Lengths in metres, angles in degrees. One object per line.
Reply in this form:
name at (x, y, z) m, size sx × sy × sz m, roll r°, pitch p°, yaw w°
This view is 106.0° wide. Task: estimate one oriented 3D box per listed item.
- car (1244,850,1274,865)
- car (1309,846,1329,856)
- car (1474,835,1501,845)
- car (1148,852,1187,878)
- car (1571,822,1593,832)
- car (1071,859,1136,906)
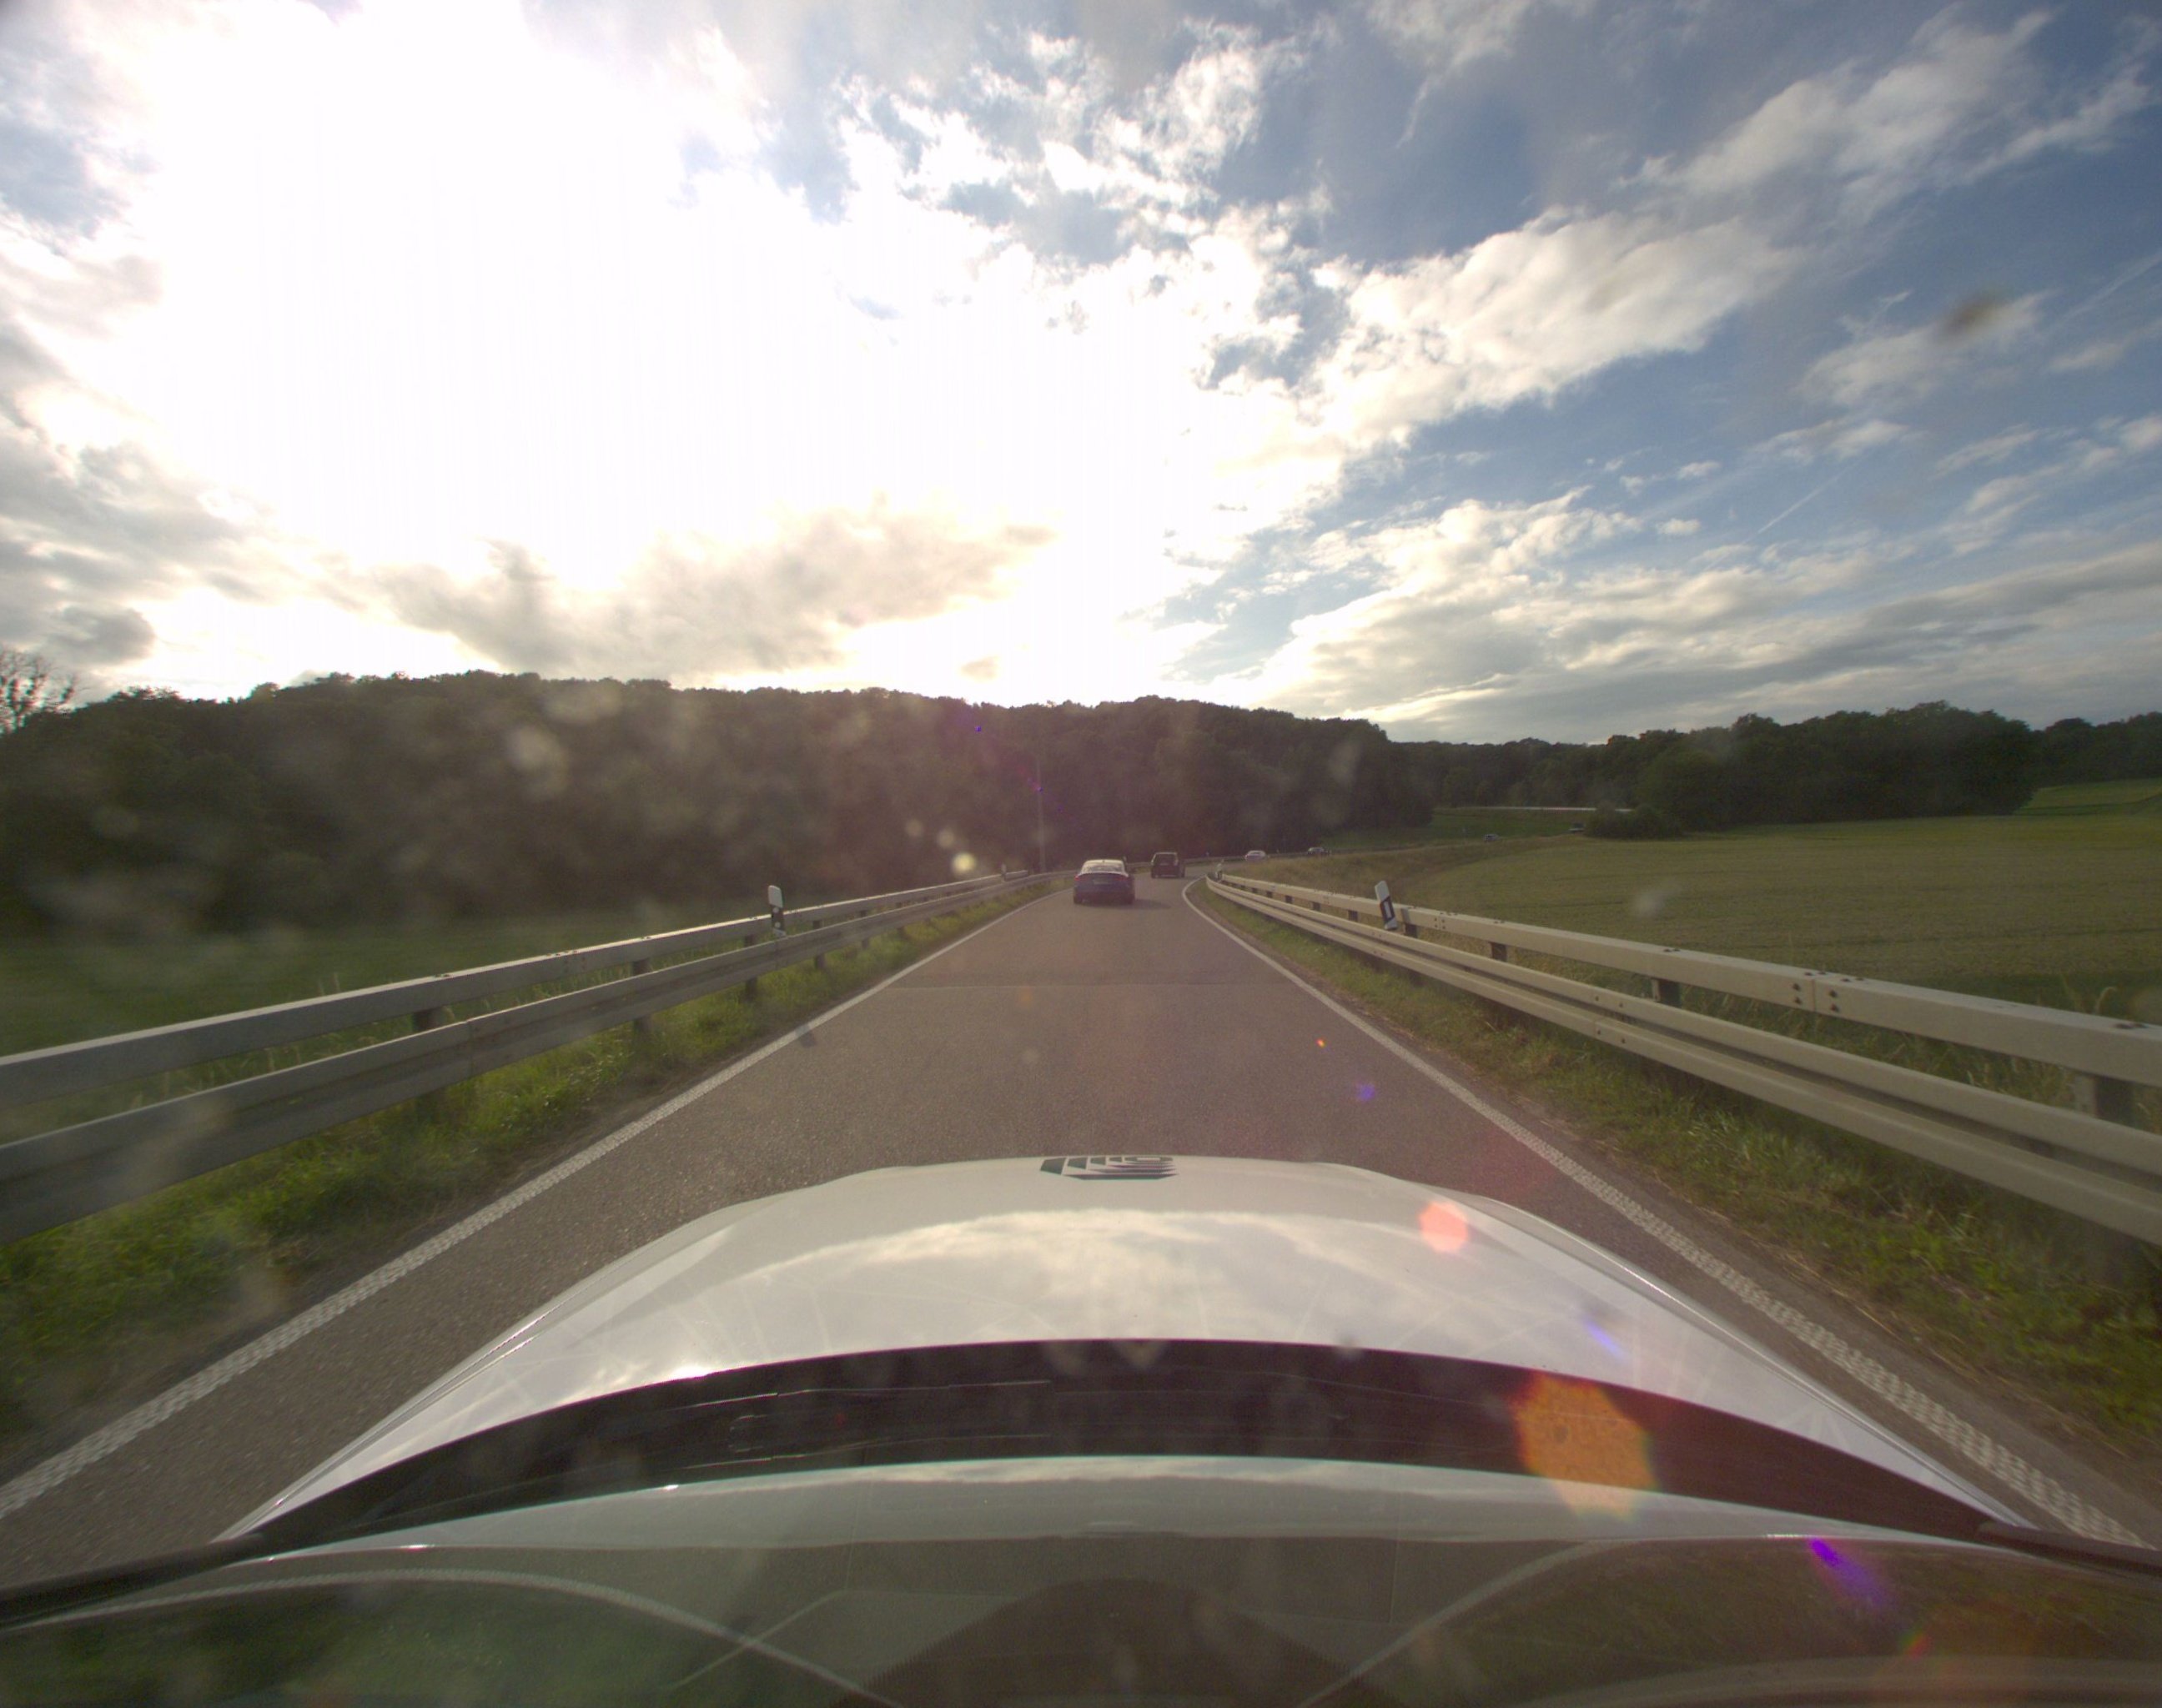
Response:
car at (18.763, 0.365, 85.847) m, size 1.666 × 1.376 × 4.026 m, roll -3°, pitch 0°, yaw 33°
car at (30.699, -0.349, 105.051) m, size 1.457 × 1.227 × 3.320 m, roll -3°, pitch -1°, yaw 35°
car at (73.101, -2.521, 146.351) m, size 4.180 × 1.679 × 1.986 m, roll -2°, pitch 1°, yaw -21°
car at (5.577, 0.662, 52.130) m, size 1.848 × 1.569 × 4.015 m, roll 0°, pitch 0°, yaw 14°
car at (102.266, -5.521, 166.287) m, size 4.007 × 1.771 × 1.983 m, roll -3°, pitch 1°, yaw -25°
car at (0.806, 0.872, 26.364) m, size 1.810 × 1.339 × 4.356 m, roll -1°, pitch 0°, yaw 5°
